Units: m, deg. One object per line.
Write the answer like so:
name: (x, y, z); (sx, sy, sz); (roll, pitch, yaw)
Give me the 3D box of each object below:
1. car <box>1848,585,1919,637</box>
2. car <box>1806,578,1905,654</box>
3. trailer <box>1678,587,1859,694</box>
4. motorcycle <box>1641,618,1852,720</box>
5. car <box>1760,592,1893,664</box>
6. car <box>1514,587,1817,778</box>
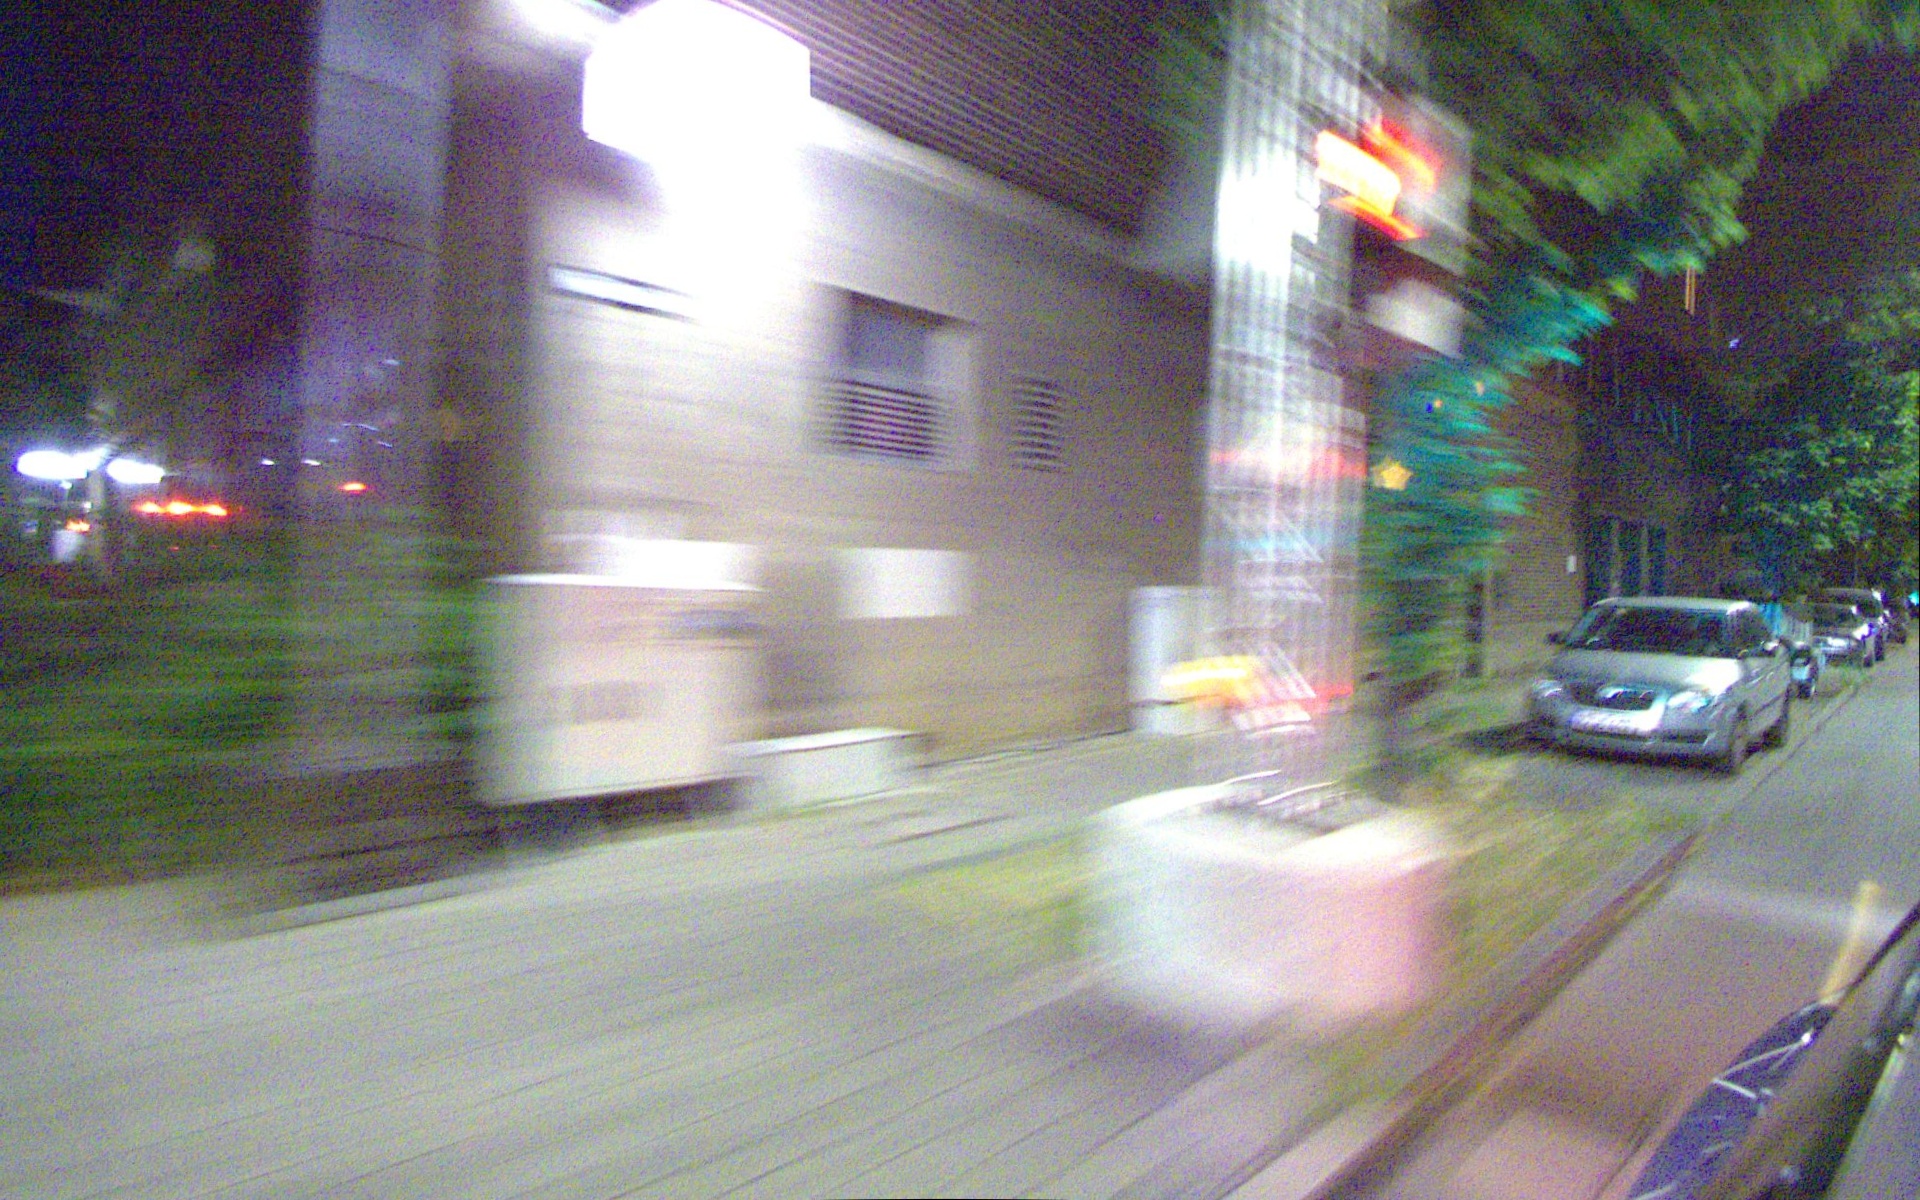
car: (33.532, 0.370, 36.612); (1.929, 1.685, 3.714); (4, 2, 43)
car: (23.863, 0.394, 26.964); (1.776, 1.795, 4.354); (4, 2, 42)
trailer: (13.026, 0.590, 16.240); (3.667, 1.514, 1.604); (1, 0, -40)
motorcycle: (9.479, 0.820, 12.221); (2.181, 1.145, 0.730); (1, 0, -10)
car: (19.339, 0.578, 22.532); (4.348, 1.375, 1.778); (1, 2, -44)
car: (6.935, 0.657, 9.809); (3.731, 1.479, 1.589); (1, 1, -42)
